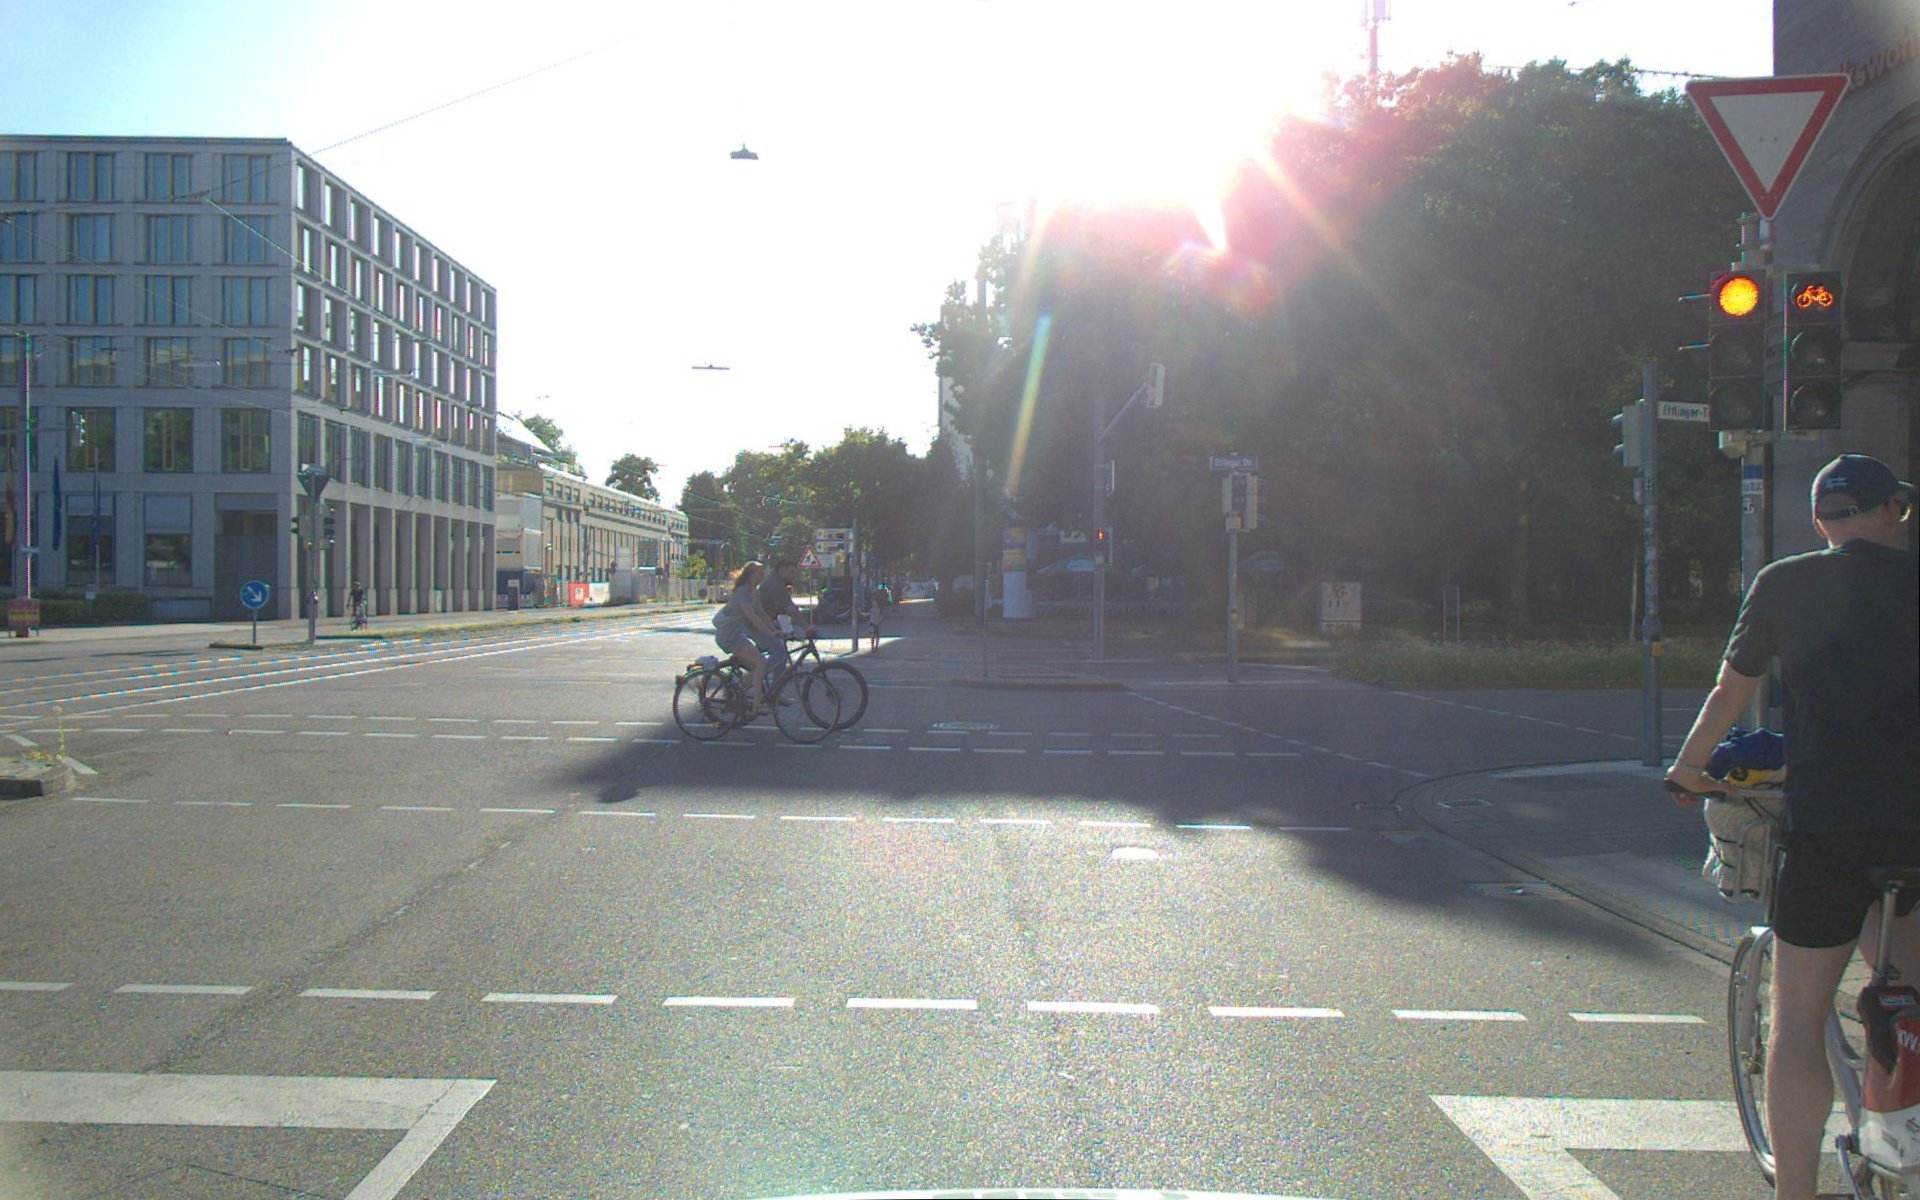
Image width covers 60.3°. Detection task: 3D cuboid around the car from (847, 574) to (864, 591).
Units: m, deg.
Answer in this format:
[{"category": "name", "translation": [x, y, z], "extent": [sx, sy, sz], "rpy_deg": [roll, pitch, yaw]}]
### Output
[{"category": "car", "translation": [-13.131, -2.218, 207.554], "extent": [1.953, 2.049, 3.999], "rpy_deg": [0, 0, -1]}]

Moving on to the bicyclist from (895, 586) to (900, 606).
[{"category": "bicyclist", "translation": [-3.707, -0.231, 98.361], "extent": [0.312, 1.147, 0.291], "rpy_deg": [0, 0, -1]}]

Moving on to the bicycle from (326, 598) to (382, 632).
[{"category": "bicycle", "translation": [-21.443, 0.518, 58.575], "extent": [0.857, 1.140, 3.013], "rpy_deg": [0, 0, 0]}]

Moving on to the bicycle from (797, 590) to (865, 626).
[{"category": "bicycle", "translation": [-5.229, 0.333, 67.050], "extent": [2.688, 1.391, 0.631], "rpy_deg": [1, -1, 10]}]

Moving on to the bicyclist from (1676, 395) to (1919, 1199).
[{"category": "bicyclist", "translation": [2.069, 0.426, 3.747], "extent": [0.655, 1.707, 0.657], "rpy_deg": [0, 0, 8]}]

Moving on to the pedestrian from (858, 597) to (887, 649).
[{"category": "pedestrian", "translation": [-2.344, 0.611, 44.332], "extent": [0.737, 1.356, 0.742], "rpy_deg": [0, 0, 0]}]

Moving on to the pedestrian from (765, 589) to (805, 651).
[{"category": "pedestrian", "translation": [-4.577, 0.522, 43.215], "extent": [0.964, 1.615, 0.660], "rpy_deg": [0, -1, 1]}]

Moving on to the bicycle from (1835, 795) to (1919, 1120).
[{"category": "bicycle", "translation": [3.008, 1.081, 4.366], "extent": [0.418, 0.891, 1.951], "rpy_deg": [0, 0, 2]}]

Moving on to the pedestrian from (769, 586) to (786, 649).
[{"category": "pedestrian", "translation": [-4.959, 0.465, 44.896], "extent": [0.432, 1.692, 0.376], "rpy_deg": [0, 0, -2]}]

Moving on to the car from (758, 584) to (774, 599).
[{"category": "car", "translation": [-22.641, -0.972, 193.262], "extent": [1.453, 1.780, 3.999], "rpy_deg": [0, 0, -1]}]

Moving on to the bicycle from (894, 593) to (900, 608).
[{"category": "bicycle", "translation": [-3.723, 0.029, 98.233], "extent": [0.317, 0.883, 1.483], "rpy_deg": [0, 0, -1]}]

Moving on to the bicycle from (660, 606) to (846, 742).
[{"category": "bicycle", "translation": [-2.059, 0.729, 16.687], "extent": [1.814, 1.314, 0.791], "rpy_deg": [0, 0, -4]}]

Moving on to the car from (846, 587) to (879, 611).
[{"category": "car", "translation": [-5.385, -0.058, 91.752], "extent": [1.783, 1.301, 3.998], "rpy_deg": [0, 0, -3]}]

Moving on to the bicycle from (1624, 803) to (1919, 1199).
[{"category": "bicycle", "translation": [2.058, 1.075, 3.978], "extent": [0.381, 0.921, 1.952], "rpy_deg": [0, 0, 8]}]

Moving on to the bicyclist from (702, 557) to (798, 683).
[{"category": "bicyclist", "translation": [-2.104, 0.193, 16.688], "extent": [0.906, 1.240, 0.796], "rpy_deg": [0, 0, -4]}]

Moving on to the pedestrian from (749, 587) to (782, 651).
[{"category": "pedestrian", "translation": [-5.143, 0.497, 43.764], "extent": [0.779, 1.668, 0.533], "rpy_deg": [0, 0, 2]}]

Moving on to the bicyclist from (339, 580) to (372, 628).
[{"category": "bicyclist", "translation": [-21.420, 0.147, 58.633], "extent": [0.857, 1.670, 0.822], "rpy_deg": [0, 0, 0]}]

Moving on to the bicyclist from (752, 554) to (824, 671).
[{"category": "bicyclist", "translation": [-1.870, 0.133, 18.064], "extent": [0.706, 1.240, 0.797], "rpy_deg": [0, 0, -2]}]

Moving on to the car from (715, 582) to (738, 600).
[{"category": "car", "translation": [-22.510, -0.836, 159.781], "extent": [1.695, 1.682, 3.999], "rpy_deg": [0, 0, -1]}]

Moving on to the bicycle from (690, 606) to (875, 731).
[{"category": "bicycle", "translation": [-1.916, 0.732, 18.058], "extent": [1.945, 1.314, 0.791], "rpy_deg": [0, 0, -3]}]

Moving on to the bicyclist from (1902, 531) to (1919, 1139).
[{"category": "bicyclist", "translation": [2.938, 0.661, 4.292], "extent": [0.511, 1.709, 0.859], "rpy_deg": [0, 0, 2]}]

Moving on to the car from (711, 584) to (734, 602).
[{"category": "car", "translation": [-22.346, -0.625, 155.737], "extent": [1.695, 1.682, 3.999], "rpy_deg": [0, 0, -1]}]
